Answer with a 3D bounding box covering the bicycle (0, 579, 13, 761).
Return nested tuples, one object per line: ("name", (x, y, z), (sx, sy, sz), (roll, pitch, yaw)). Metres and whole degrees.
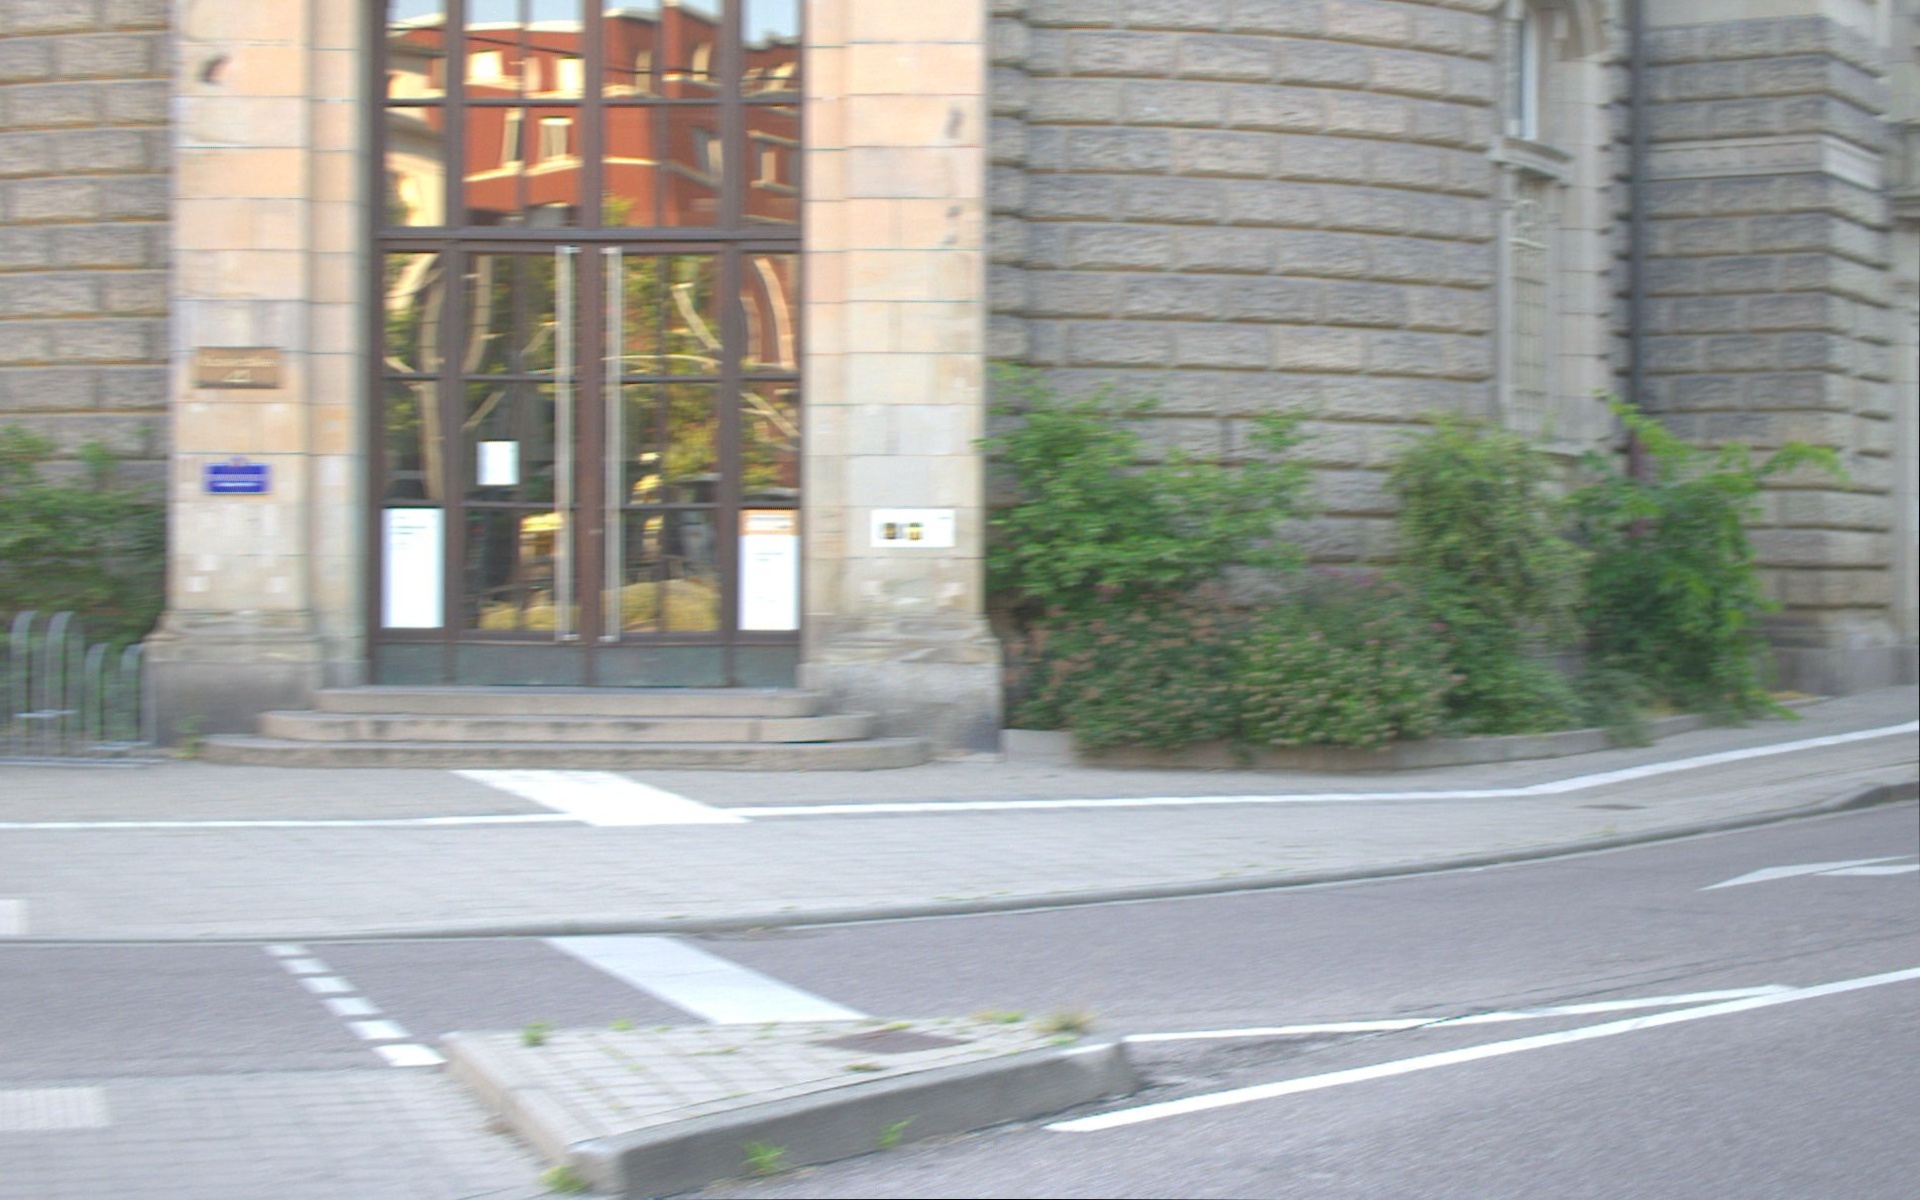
("bicycle", (-6.708, 0.464, 21.704), (0.867, 1.192, 2.239), (0, 1, -1))
